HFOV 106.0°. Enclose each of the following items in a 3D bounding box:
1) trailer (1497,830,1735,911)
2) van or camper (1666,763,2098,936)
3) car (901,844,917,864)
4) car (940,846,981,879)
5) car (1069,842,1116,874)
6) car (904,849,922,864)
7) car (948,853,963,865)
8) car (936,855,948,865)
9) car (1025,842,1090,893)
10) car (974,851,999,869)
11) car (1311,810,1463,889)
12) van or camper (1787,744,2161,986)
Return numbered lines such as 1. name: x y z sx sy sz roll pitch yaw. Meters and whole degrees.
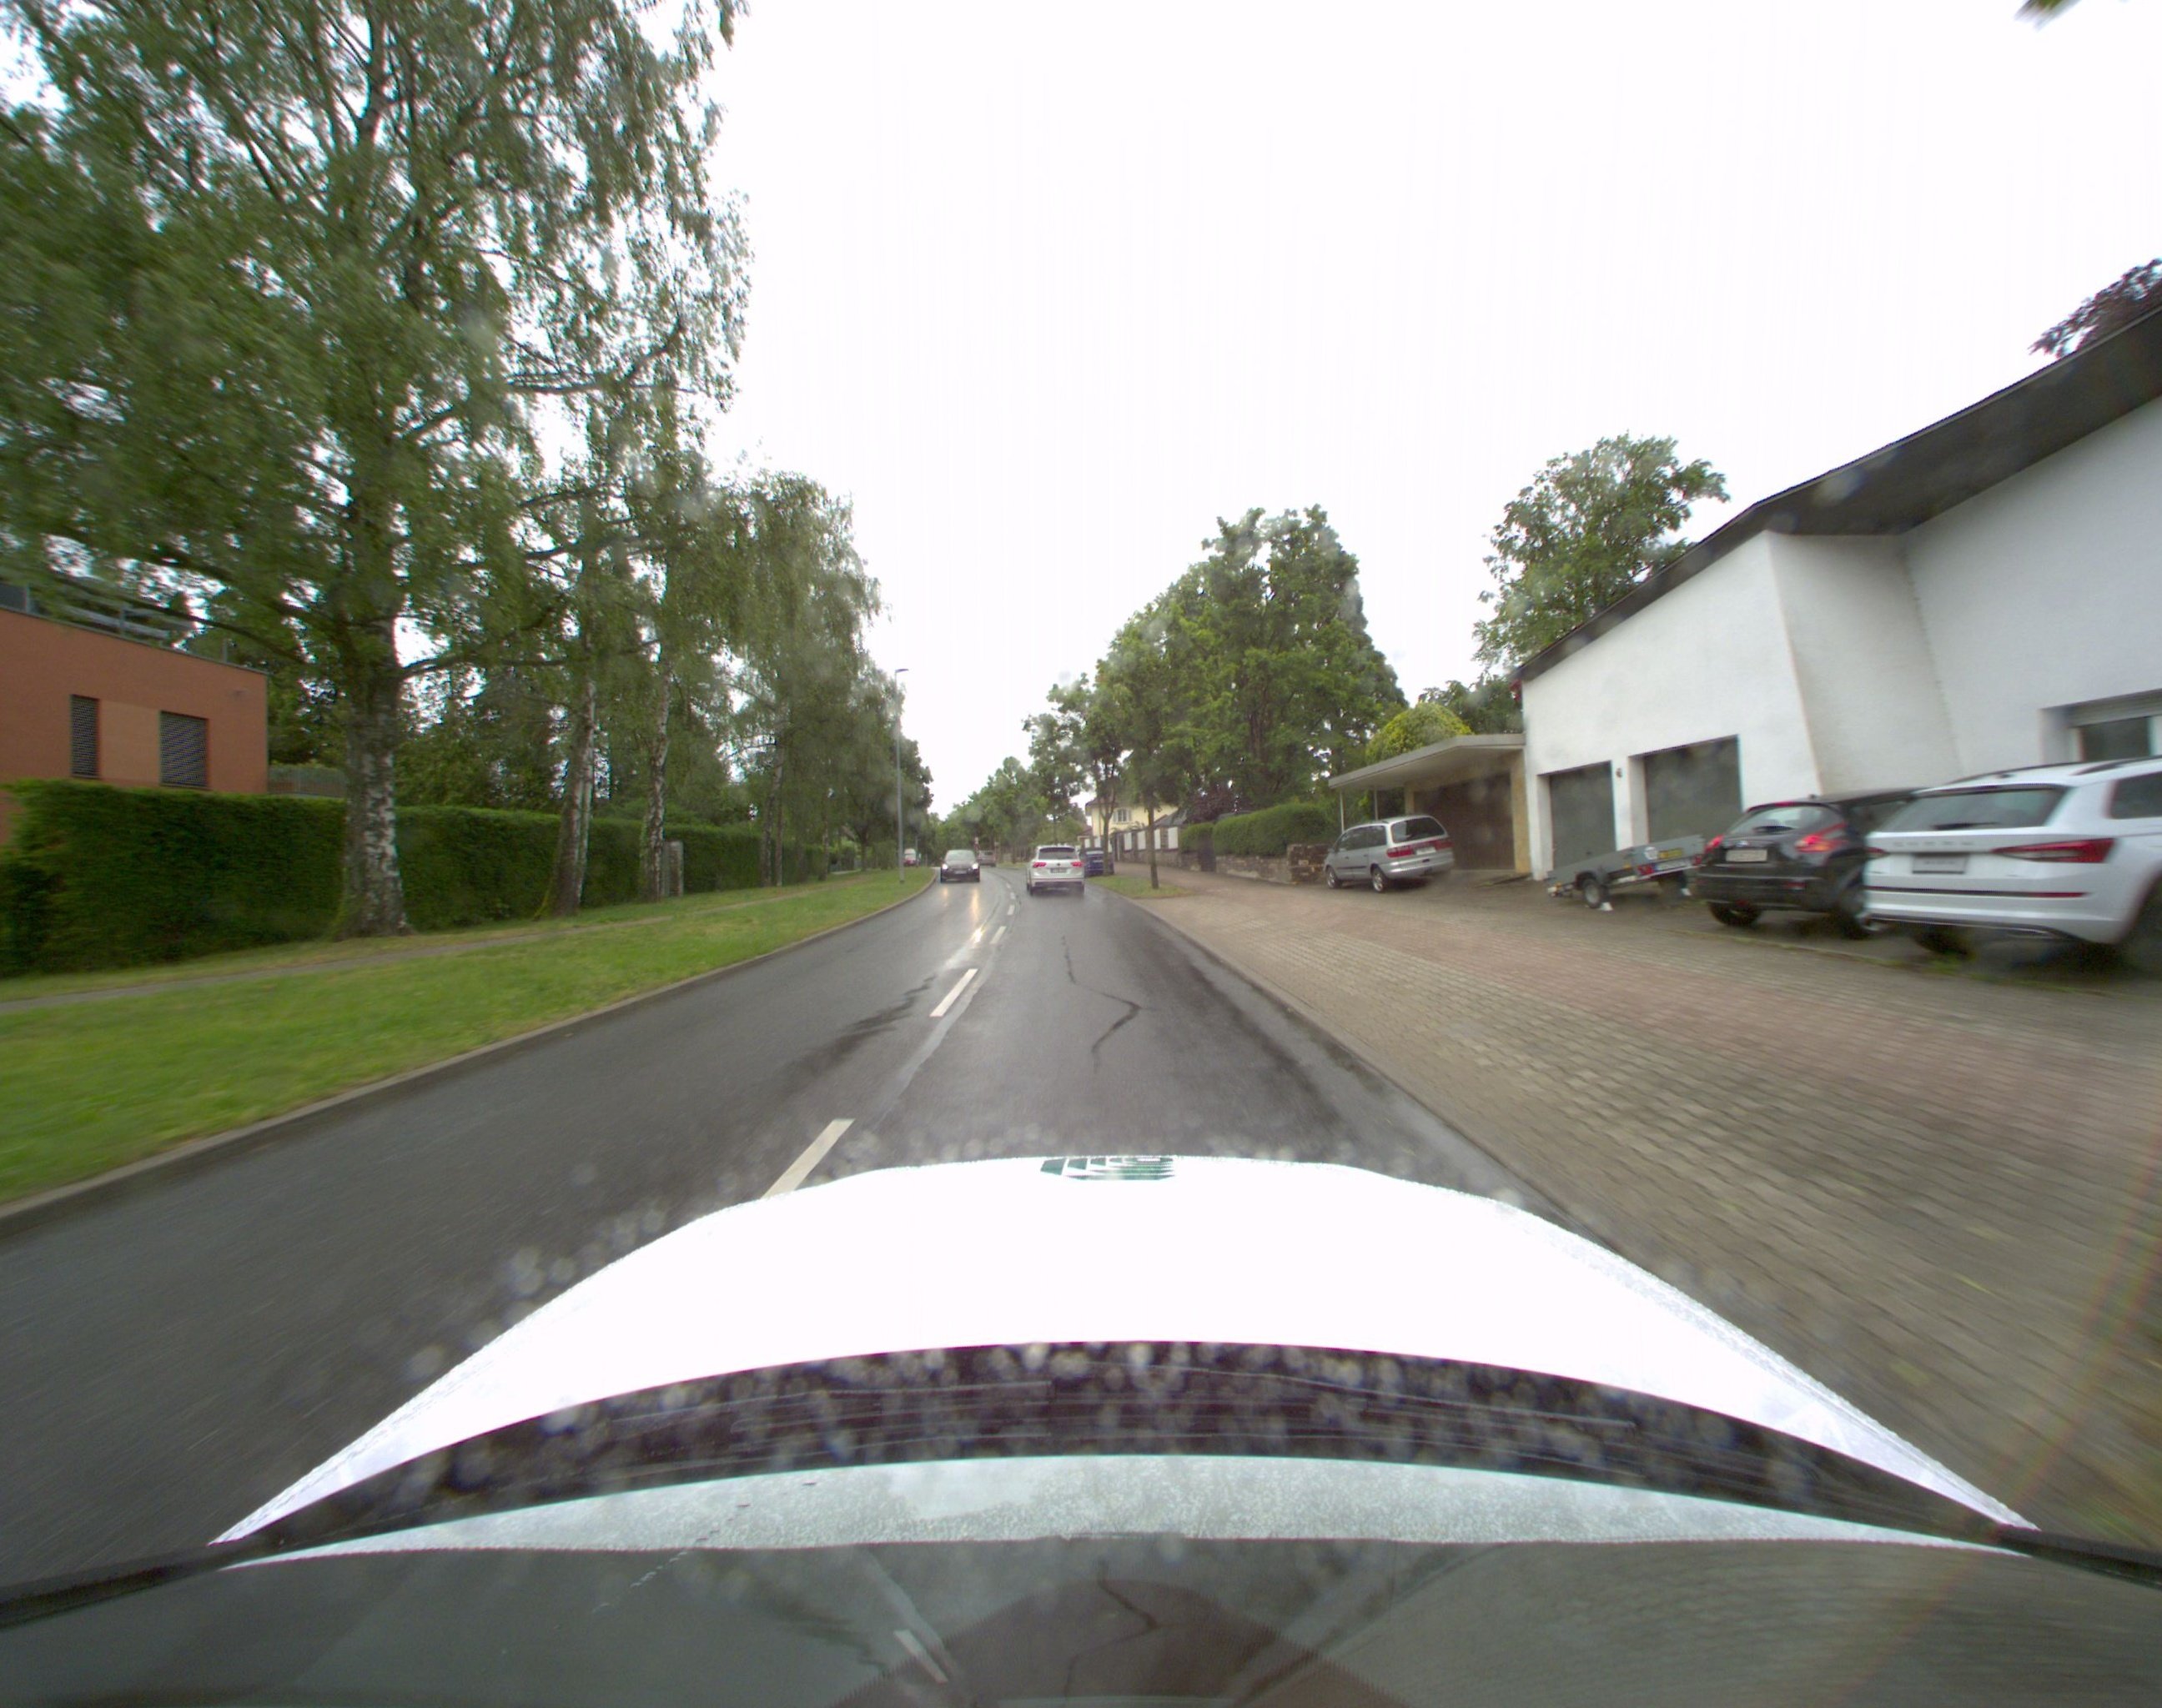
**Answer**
1. trailer: 8.493 0.247 13.267 1.418 0.921 3.269 -10 0 -5
2. van or camper: 9.085 -0.070 9.419 3.398 1.555 1.766 -4 0 -6
3. car: -23.374 0.084 110.328 1.996 2.561 5.209 -2 0 -13
4. car: -5.577 0.366 38.056 1.753 1.441 4.147 0 1 -7
5. car: 0.507 0.176 39.889 1.641 1.377 3.818 -4 1 -8
6. car: -18.525 0.287 89.597 1.845 1.466 4.230 -1 0 -13
7. car: -16.807 0.663 109.220 1.853 1.418 4.211 0 1 -11
8. car: -22.379 0.916 131.158 1.853 1.418 4.211 0 1 -11
9. car: -0.876 0.413 28.249 1.994 1.632 3.993 -1 0 -5
10. car: -8.327 0.504 71.495 1.841 1.487 3.986 0 1 -11
11. car: 7.811 -0.127 21.389 1.791 1.757 4.935 -2 1 -5
12. van or camper: 9.041 -0.072 7.040 3.976 1.677 2.122 -6 0 -1
